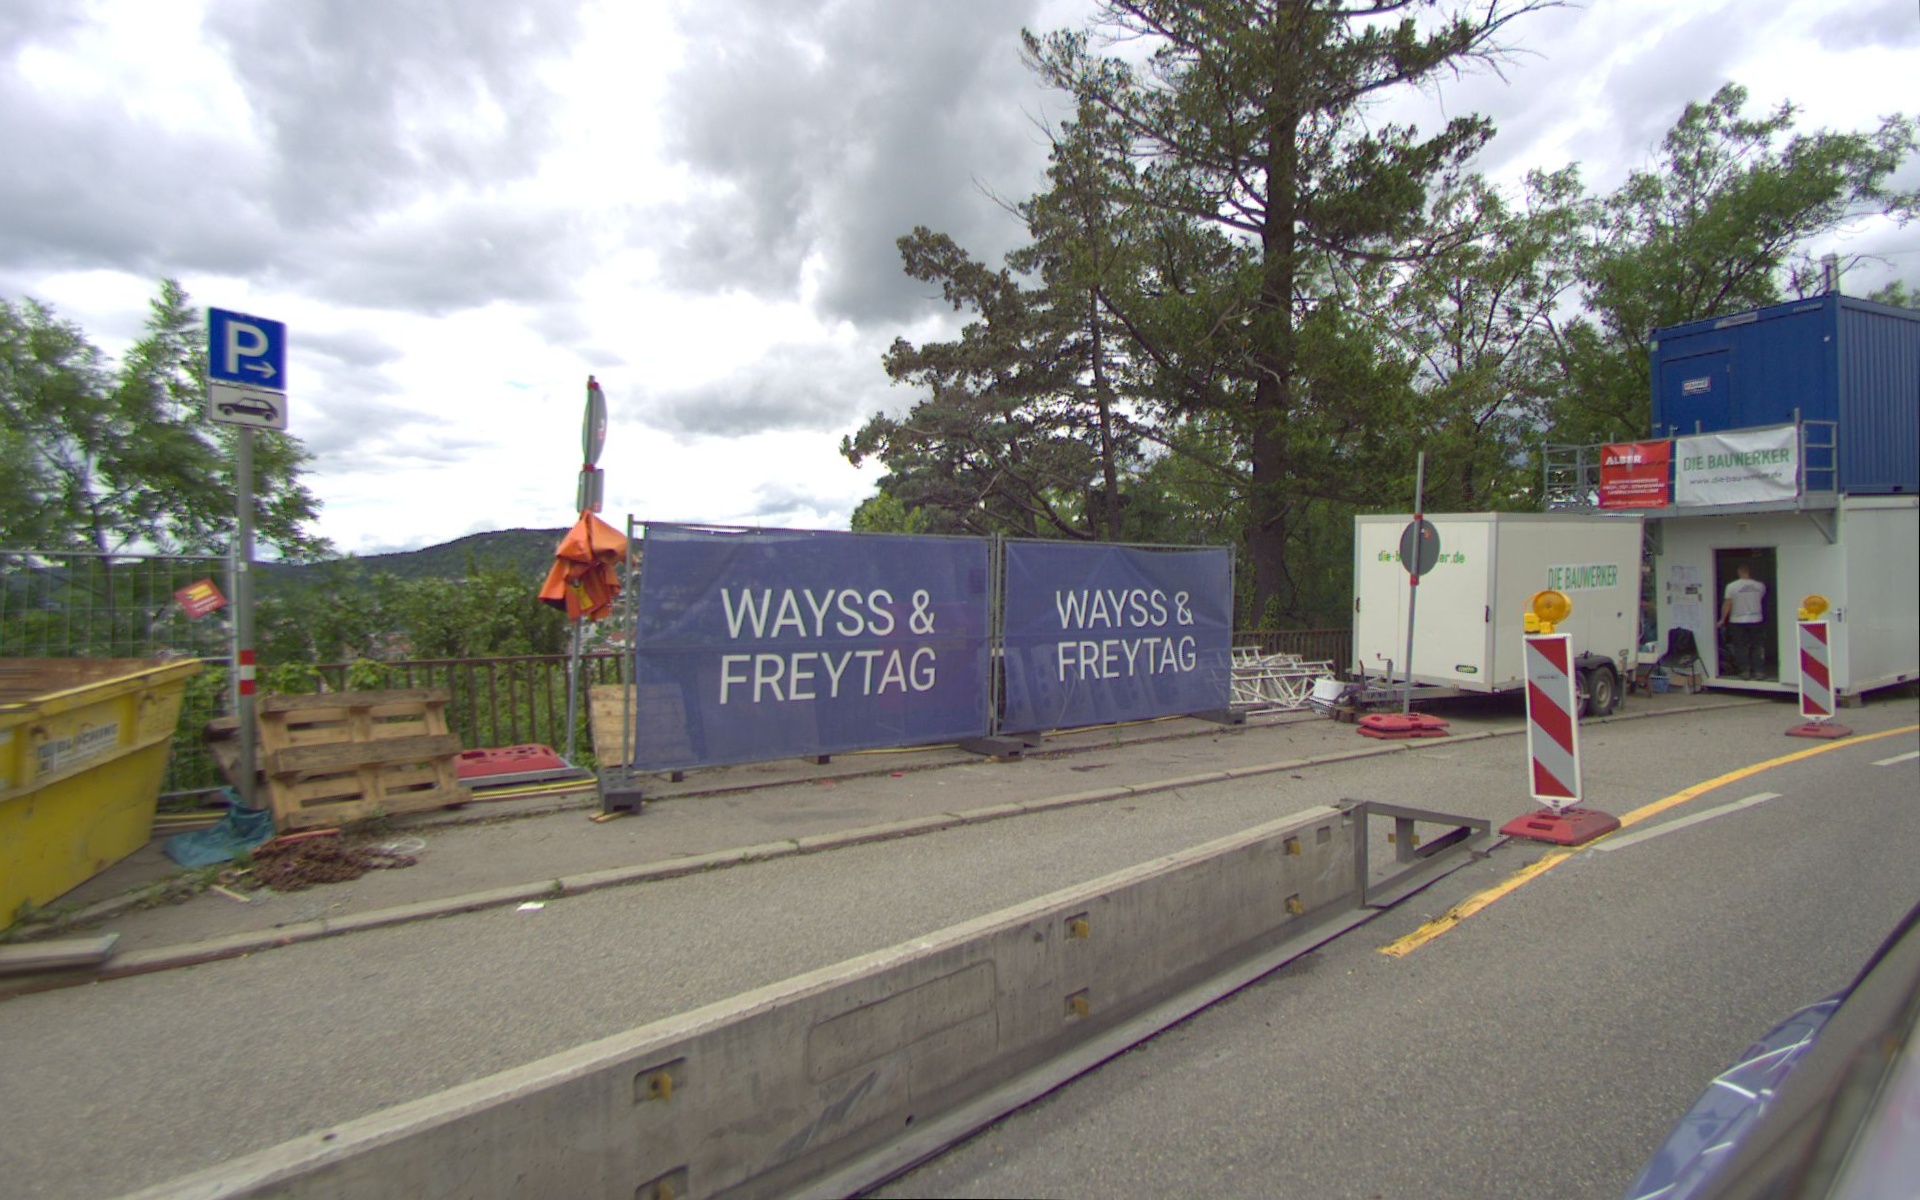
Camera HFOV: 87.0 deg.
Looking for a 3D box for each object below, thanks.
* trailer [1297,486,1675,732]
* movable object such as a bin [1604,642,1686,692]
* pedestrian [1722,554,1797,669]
[{"bbox_3d":[6.806,0.039,12.901,5.021,2.581,2.114,0,2,-34],"label":"trailer"},{"bbox_3d":[10.211,0.986,15.096,0.869,0.648,0.707,0,2,-31],"label":"movable object such as a bin"},{"bbox_3d":[11.978,0.180,15.186,0.641,1.683,0.646,-1,-1,19],"label":"pedestrian"}]
